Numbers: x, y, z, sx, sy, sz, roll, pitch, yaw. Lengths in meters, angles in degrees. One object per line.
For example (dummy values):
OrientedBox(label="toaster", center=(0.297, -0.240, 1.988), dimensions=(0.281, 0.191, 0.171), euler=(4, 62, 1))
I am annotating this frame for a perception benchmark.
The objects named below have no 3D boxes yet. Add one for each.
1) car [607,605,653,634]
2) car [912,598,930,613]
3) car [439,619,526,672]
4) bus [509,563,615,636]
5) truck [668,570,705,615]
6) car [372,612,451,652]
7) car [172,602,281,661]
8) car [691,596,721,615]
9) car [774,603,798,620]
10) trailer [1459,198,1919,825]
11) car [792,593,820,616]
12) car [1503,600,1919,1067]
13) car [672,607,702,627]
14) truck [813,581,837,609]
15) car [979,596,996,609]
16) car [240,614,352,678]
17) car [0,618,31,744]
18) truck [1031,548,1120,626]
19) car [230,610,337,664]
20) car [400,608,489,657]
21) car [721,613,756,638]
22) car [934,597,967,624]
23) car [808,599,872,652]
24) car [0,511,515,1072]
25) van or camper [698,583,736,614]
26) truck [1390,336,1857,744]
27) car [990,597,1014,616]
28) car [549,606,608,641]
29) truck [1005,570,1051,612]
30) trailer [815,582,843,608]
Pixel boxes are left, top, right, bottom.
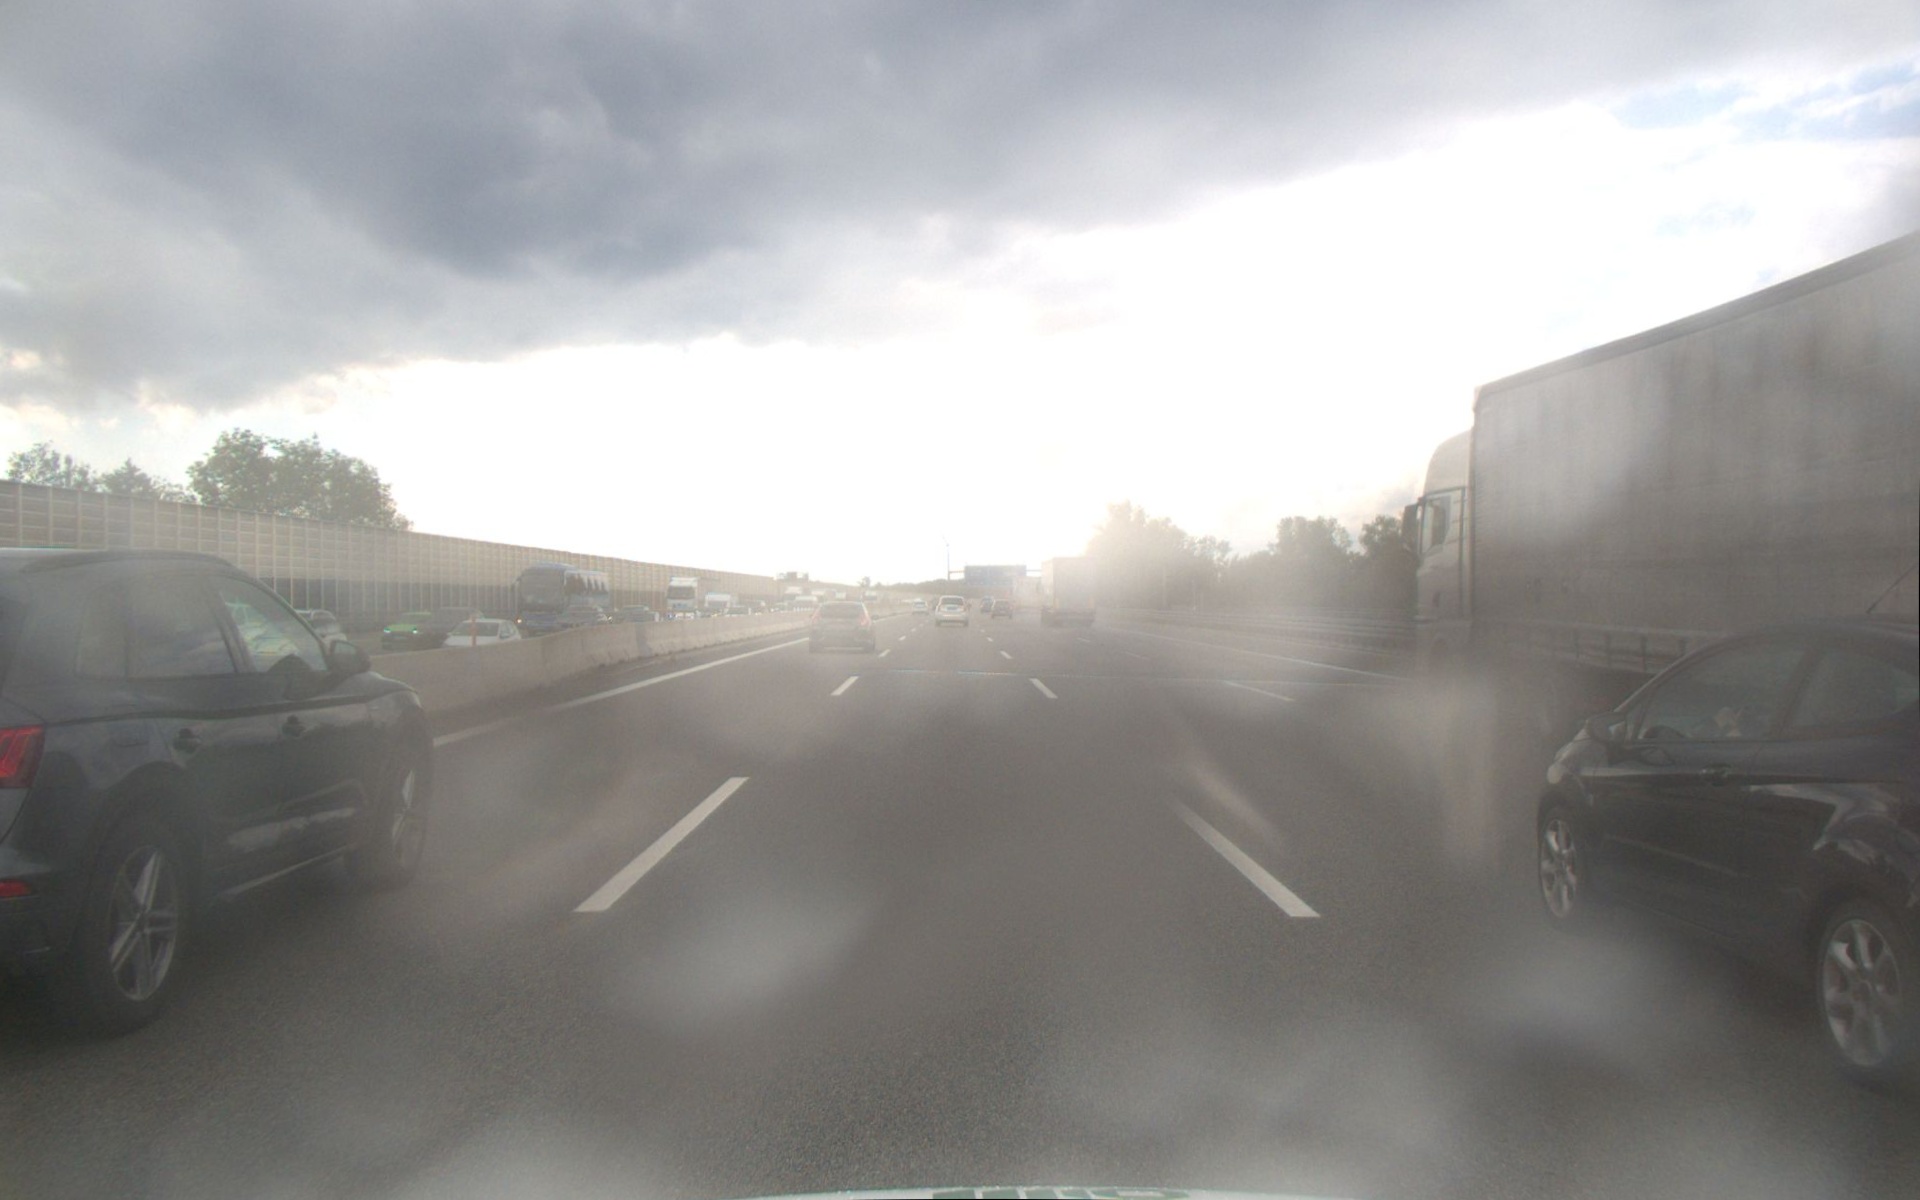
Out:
OrientedBox(label="car", center=(-18.271, 1.054, 91.665), dimensions=(1.711, 1.552, 4.177), euler=(0, 0, 0))
OrientedBox(label="car", center=(-4.060, 0.583, 171.612), dimensions=(1.737, 1.466, 3.872), euler=(0, 1, -3))
OrientedBox(label="car", center=(-14.134, 1.322, 49.113), dimensions=(1.539, 1.418, 3.575), euler=(0, 0, 0))
OrientedBox(label="bus", center=(-22.051, -0.048, 92.507), dimensions=(3.029, 3.824, 11.881), euler=(0, 0, 0))
OrientedBox(label="truck", center=(-25.212, -0.696, 152.735), dimensions=(2.524, 4.003, 5.177), euler=(1, 0, 0))
OrientedBox(label="car", center=(-21.847, 1.241, 66.072), dimensions=(1.712, 1.455, 4.714), euler=(0, 0, -2))
OrientedBox(label="car", center=(-25.503, 1.070, 57.693), dimensions=(1.712, 1.926, 4.781), euler=(0, 0, -1))
OrientedBox(label="car", center=(-21.704, 0.467, 141.454), dimensions=(1.711, 1.552, 5.140), euler=(0, 0, 0))
OrientedBox(label="car", center=(-17.512, 1.170, 166.716), dimensions=(1.884, 1.627, 5.096), euler=(0, 0, 0))
OrientedBox(label="trailer", center=(7.677, -0.598, 13.203), dimensions=(2.901, 4.090, 14.116), euler=(0, 1, -1))
OrientedBox(label="car", center=(-14.346, 0.371, 154.381), dimensions=(2.115, 2.107, 6.014), euler=(0, 0, 0))
OrientedBox(label="car", center=(3.506, 0.749, 6.876), dimensions=(1.417, 1.466, 3.163), euler=(0, 0, -1))
OrientedBox(label="car", center=(-21.727, 1.353, 131.831), dimensions=(1.711, 1.552, 4.177), euler=(0, 0, 0))
OrientedBox(label="truck", center=(-20.381, -0.751, 249.987), dimensions=(3.016, 4.003, 8.053), euler=(1, 0, 0))
OrientedBox(label="car", center=(3.253, 0.322, 197.895), dimensions=(1.798, 1.466, 4.054), euler=(0, 1, -1))
OrientedBox(label="car", center=(-18.077, 1.229, 45.169), dimensions=(1.587, 1.607, 3.619), euler=(0, 0, 0))
OrientedBox(label="car", center=(-13.600, 1.092, 20.812), dimensions=(1.712, 1.659, 3.748), euler=(0, 0, 0))
OrientedBox(label="truck", center=(6.897, -0.802, 101.090), dimensions=(4.096, 4.363, 12.608), euler=(1, 0, -2))
OrientedBox(label="car", center=(-21.761, 1.160, 53.388), dimensions=(1.711, 1.639, 4.177), euler=(0, 0, 0))
OrientedBox(label="car", center=(-18.515, 1.155, 59.598), dimensions=(1.895, 1.639, 4.177), euler=(0, 0, 0))
OrientedBox(label="car", center=(-14.437, 1.645, 108.167), dimensions=(1.711, 1.552, 4.177), euler=(0, 0, 0))
OrientedBox(label="car", center=(-0.557, 0.592, 96.937), dimensions=(1.737, 1.466, 4.053), euler=(0, 1, -3))
OrientedBox(label="car", center=(-3.441, 0.705, 47.987), dimensions=(1.725, 1.393, 5.057), euler=(0, 1, -3))
OrientedBox(label="car", center=(-3.663, 0.569, 7.638), dimensions=(1.869, 1.720, 5.168), euler=(0, 0, -1))
OrientedBox(label="van or camper", center=(-21.665, -0.158, 147.613), dimensions=(2.296, 2.687, 7.149), euler=(0, 0, 0))
OrientedBox(label="truck", center=(7.555, -0.636, 19.987), dimensions=(2.901, 4.090, 6.587), euler=(0, 1, -1))
OrientedBox(label="car", center=(3.540, 0.546, 138.895), dimensions=(1.798, 1.466, 4.054), euler=(0, 1, -1))
OrientedBox(label="car", center=(-18.289, 1.107, 79.496), dimensions=(1.711, 1.552, 4.927), euler=(0, 0, 0))
OrientedBox(label="truck", center=(7.259, -0.997, 178.580), dimensions=(4.158, 4.249, 11.986), euler=(1, 0, -1))
OrientedBox(label="trailer", center=(-20.365, -0.796, 257.686), dimensions=(3.016, 4.003, 14.982), euler=(1, 0, 0))
